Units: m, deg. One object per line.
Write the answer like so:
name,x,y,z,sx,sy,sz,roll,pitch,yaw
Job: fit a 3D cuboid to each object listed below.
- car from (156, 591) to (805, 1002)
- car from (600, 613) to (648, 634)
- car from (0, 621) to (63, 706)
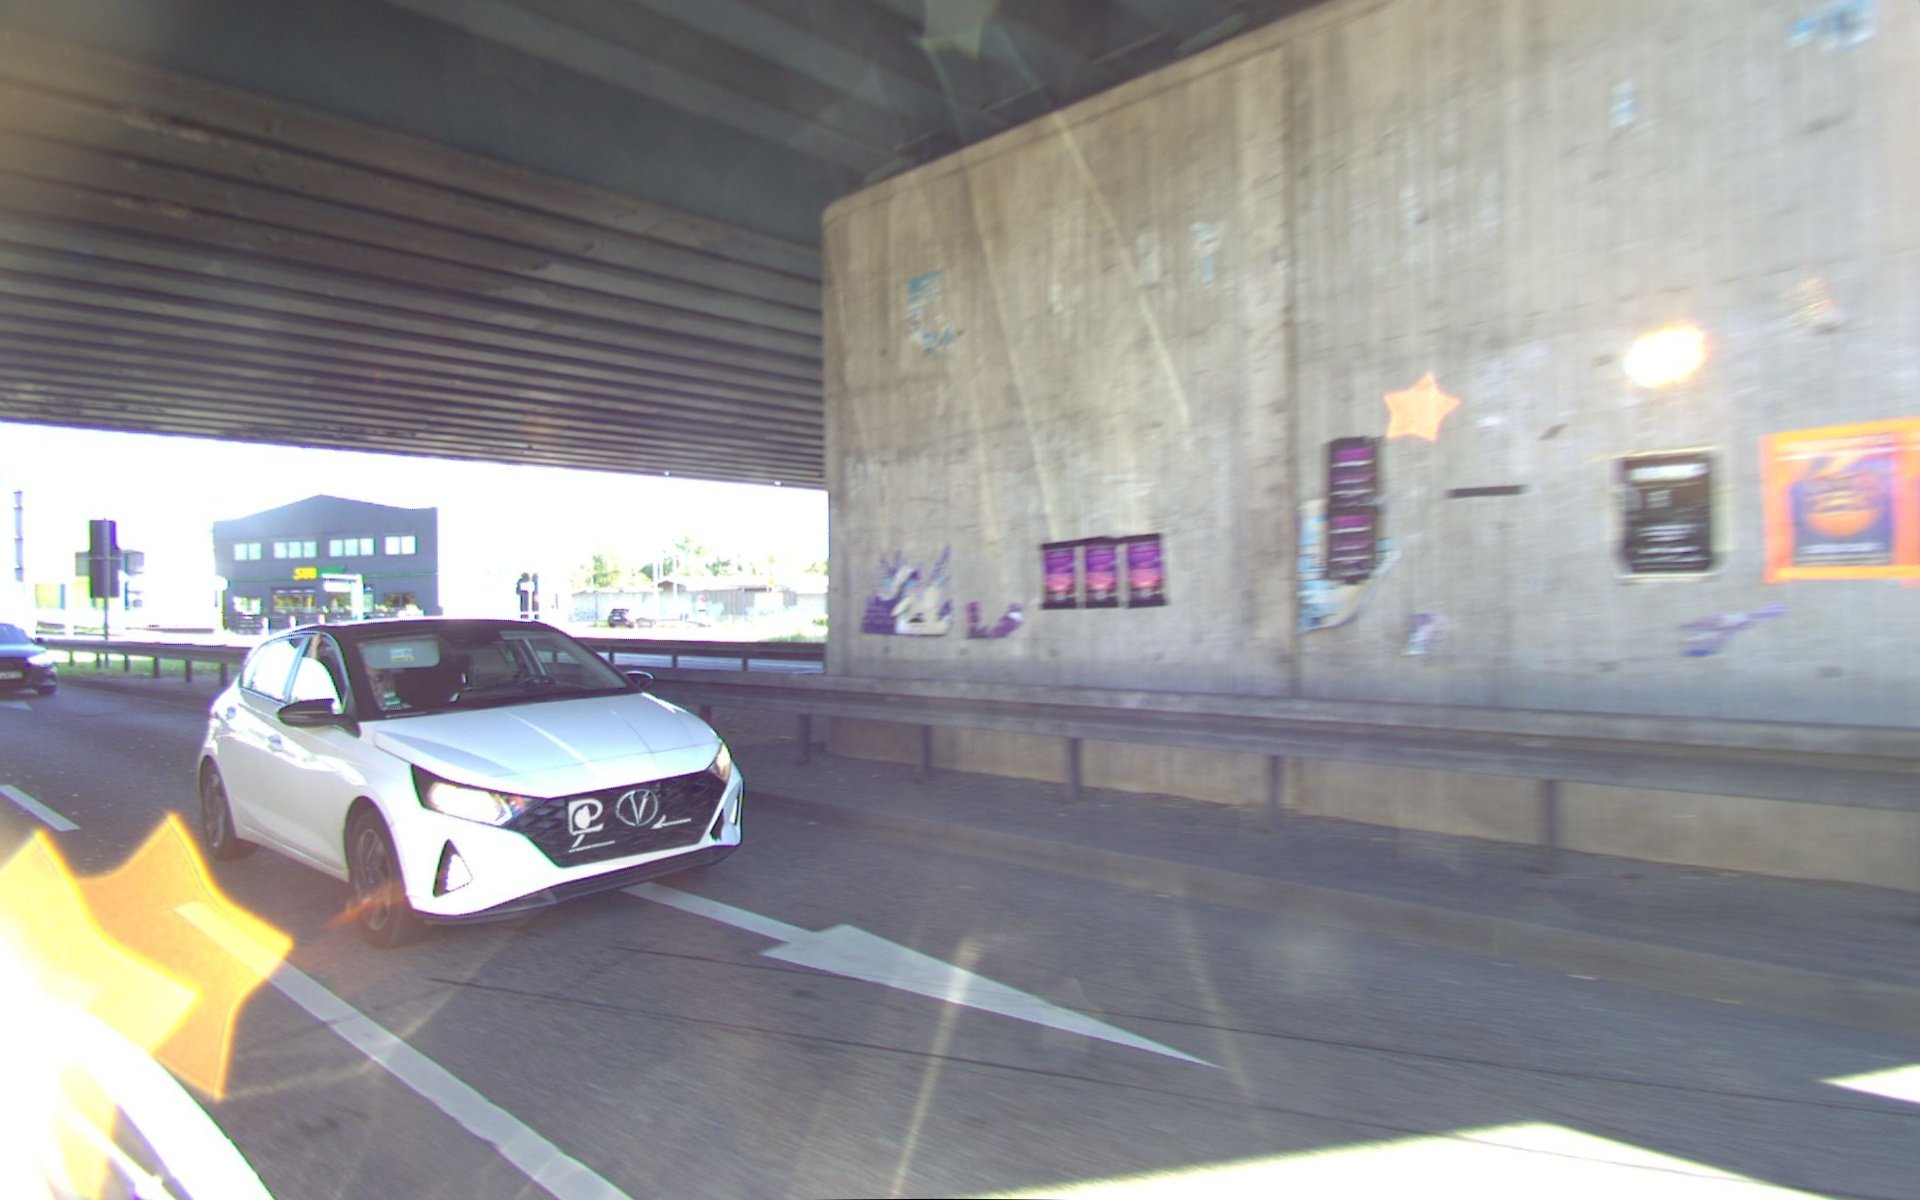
car,-2.863,0.725,5.651,3.987,1.491,1.716,0,1,39
car,-22.368,1.589,67.540,1.805,1.291,4.181,1,-2,0
car,-18.316,1.131,18.667,3.973,1.431,1.827,0,0,36
